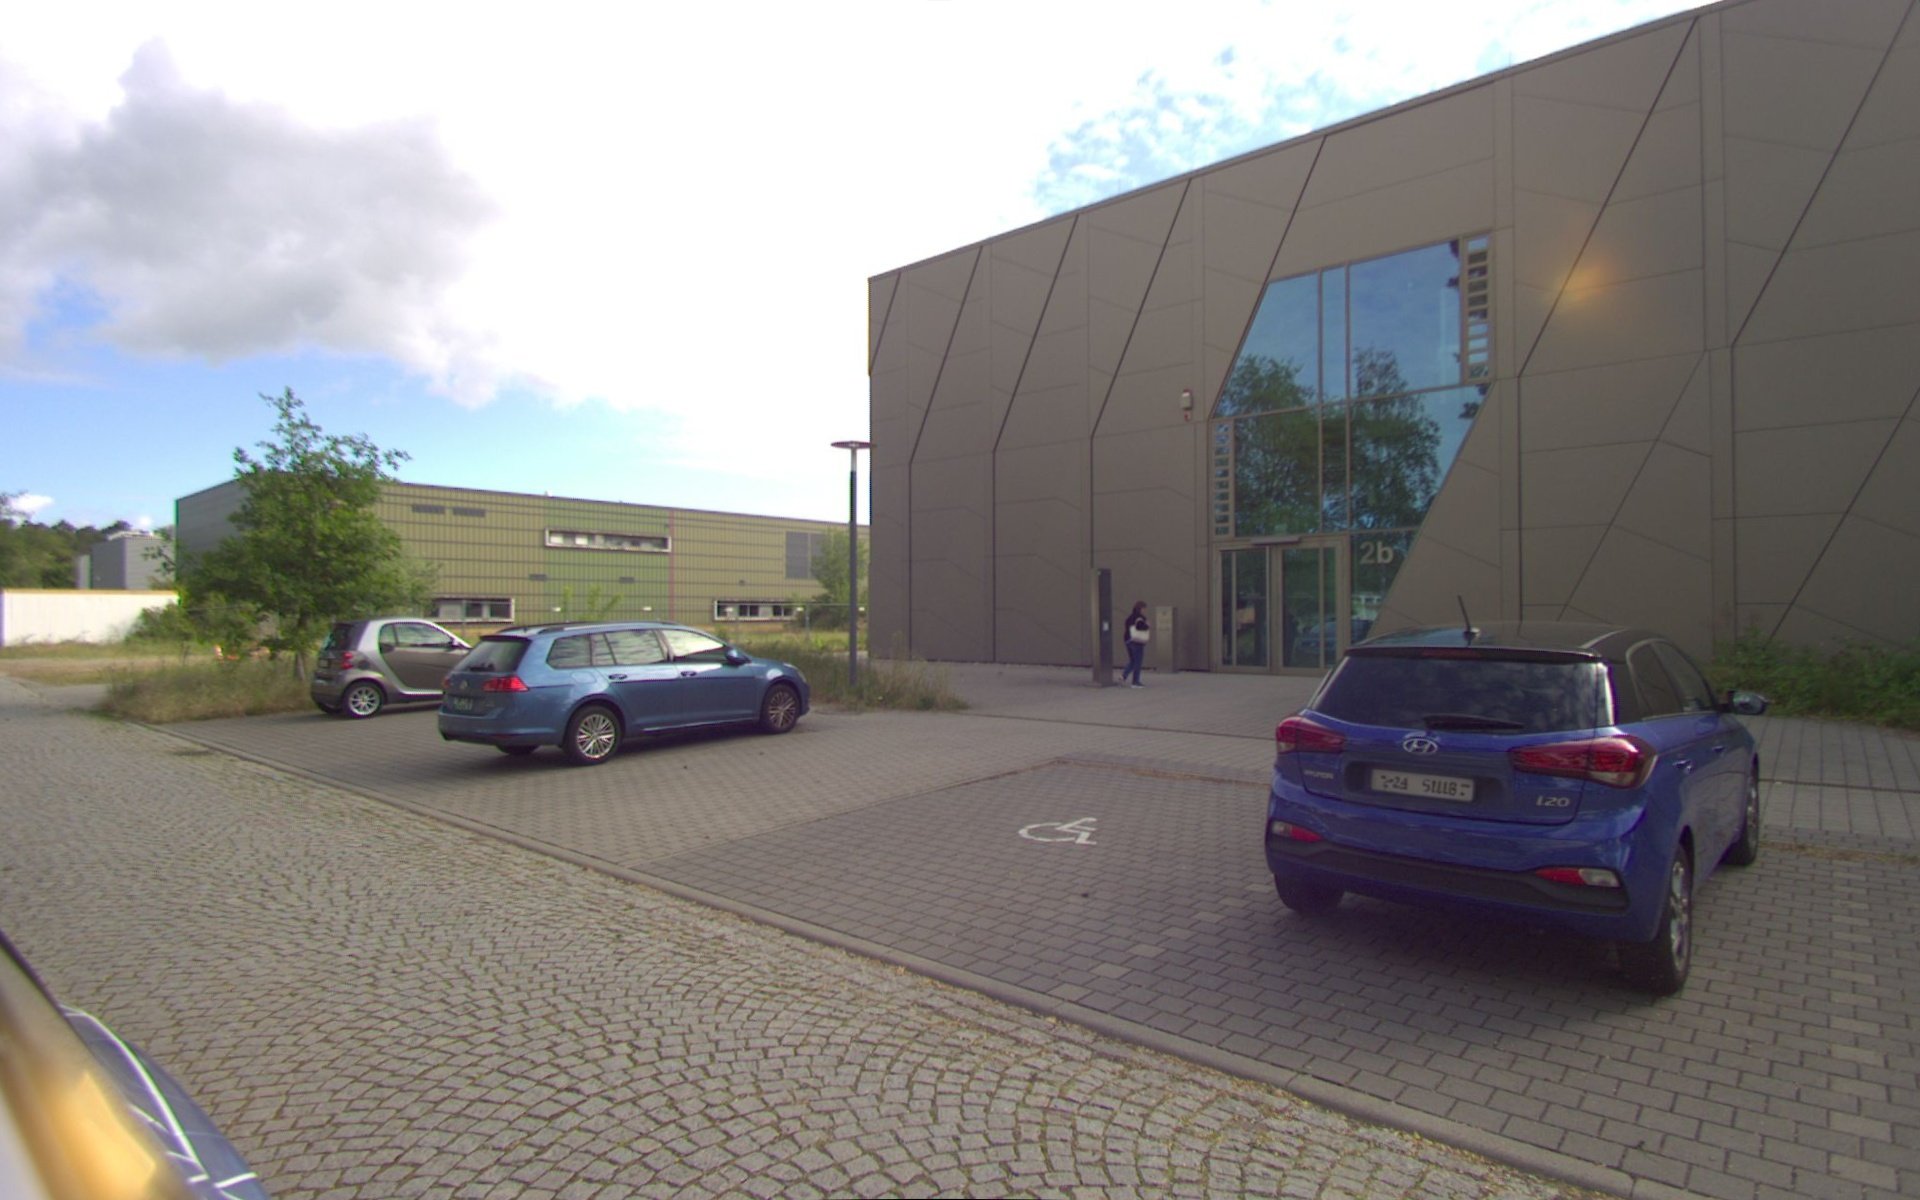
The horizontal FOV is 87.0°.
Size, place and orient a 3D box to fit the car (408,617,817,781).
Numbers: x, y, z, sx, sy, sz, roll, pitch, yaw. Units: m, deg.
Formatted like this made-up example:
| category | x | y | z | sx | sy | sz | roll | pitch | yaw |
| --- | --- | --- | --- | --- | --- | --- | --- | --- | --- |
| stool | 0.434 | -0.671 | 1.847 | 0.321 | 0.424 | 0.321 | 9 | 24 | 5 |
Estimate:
| category | x | y | z | sx | sy | sz | roll | pitch | yaw |
| --- | --- | --- | --- | --- | --- | --- | --- | --- | --- |
| car | -3.840 | 0.985 | 11.849 | 1.771 | 1.439 | 4.265 | -1 | 0 | 38 |

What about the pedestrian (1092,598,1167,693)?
| category | x | y | z | sx | sy | sz | roll | pitch | yaw |
| --- | --- | --- | --- | --- | --- | --- | --- | --- | --- |
| pedestrian | 2.892 | 0.759 | 17.271 | 0.818 | 1.505 | 0.973 | -1 | 2 | 41 |

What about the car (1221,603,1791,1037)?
| category | x | y | z | sx | sy | sz | roll | pitch | yaw |
| --- | --- | --- | --- | --- | --- | --- | --- | --- | --- |
| car | 3.231 | 0.809 | 5.624 | 1.852 | 1.489 | 3.724 | -2 | 0 | 44 |

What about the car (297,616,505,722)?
| category | x | y | z | sx | sy | sz | roll | pitch | yaw |
| --- | --- | --- | --- | --- | --- | --- | --- | --- | --- |
| car | -9.235 | 1.074 | 16.802 | 1.609 | 1.522 | 2.627 | -2 | 0 | 40 |
